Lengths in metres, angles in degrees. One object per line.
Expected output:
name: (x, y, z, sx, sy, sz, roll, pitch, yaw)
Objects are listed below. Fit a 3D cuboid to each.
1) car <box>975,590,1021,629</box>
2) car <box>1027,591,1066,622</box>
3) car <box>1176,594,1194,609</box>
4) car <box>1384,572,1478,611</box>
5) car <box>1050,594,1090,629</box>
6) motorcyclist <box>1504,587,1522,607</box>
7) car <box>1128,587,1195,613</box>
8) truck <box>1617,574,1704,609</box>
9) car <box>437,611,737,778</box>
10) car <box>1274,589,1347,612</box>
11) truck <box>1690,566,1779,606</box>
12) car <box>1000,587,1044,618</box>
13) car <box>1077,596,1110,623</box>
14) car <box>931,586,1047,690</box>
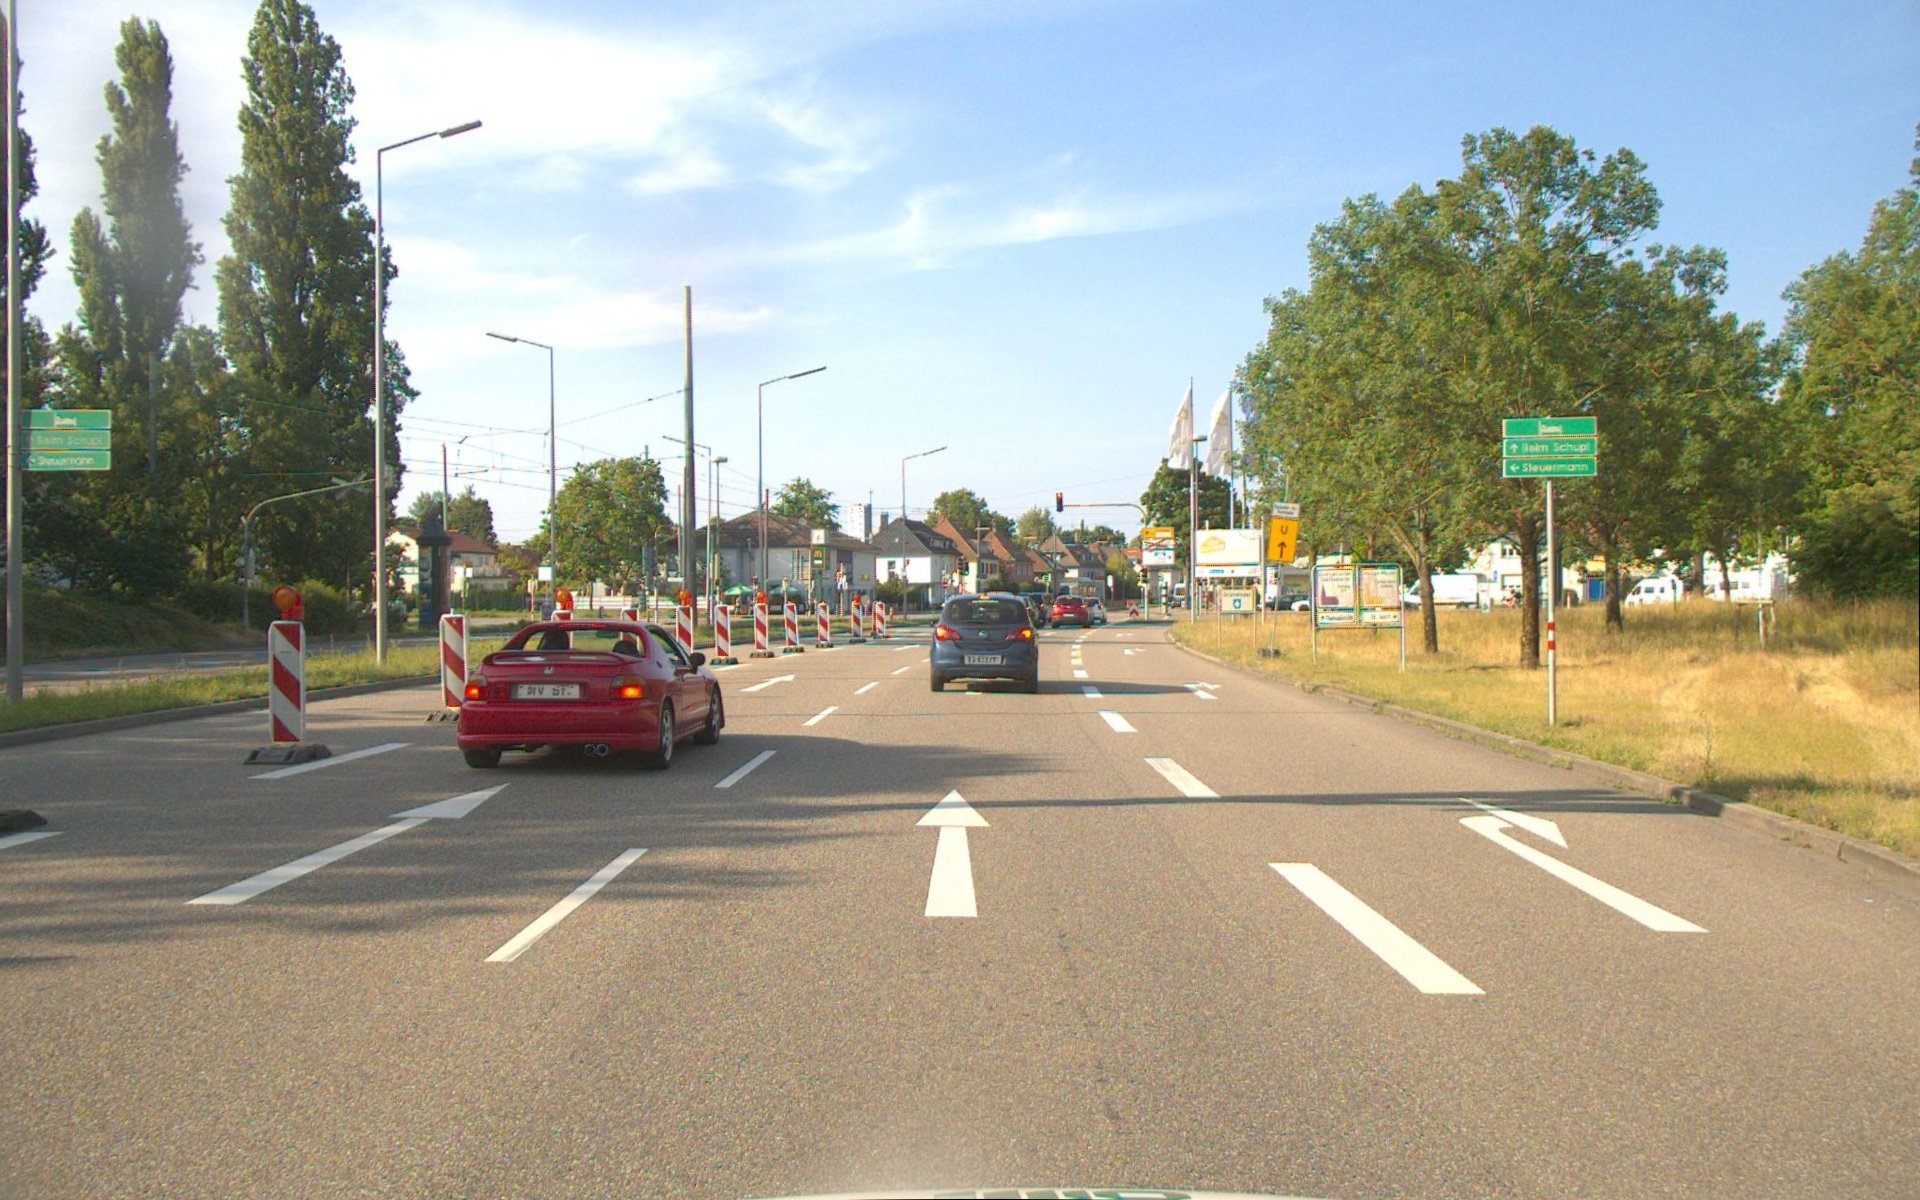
car: (1.748, 0.396, 74.914, 1.726, 1.700, 4.087, 0, 0, 7)
car: (4.890, 0.325, 92.795, 1.474, 1.680, 4.748, -1, 0, 12)
car: (22.483, 0.131, 165.017, 1.639, 1.422, 4.003, 1, -1, 10)
car: (32.543, -0.596, 114.497, 6.075, 2.629, 2.002, 0, 0, 10)
car: (5.301, 0.524, 79.056, 1.670, 1.579, 3.981, -1, 0, 7)
motorcyclist: (37.695, -0.195, 112.770, 1.043, 1.375, 0.680, 0, 0, 9)
car: (12.595, 0.000, 103.374, 3.902, 1.512, 2.002, -1, 0, 14)
truck: (53.471, -0.668, 126.353, 2.241, 2.568, 6.307, -1, 1, -25)
car: (-3.196, 0.755, 14.932, 1.695, 1.227, 3.848, 1, 0, 2)
car: (24.503, 0.035, 115.789, 4.986, 1.590, 1.841, -1, 0, 10)
truck: (59.197, -1.061, 126.513, 1.875, 2.904, 6.001, 0, 0, -36)
car: (3.210, 0.102, 84.815, 1.663, 1.534, 4.557, 0, 0, 10)
car: (7.477, 0.498, 92.576, 1.621, 1.468, 4.017, -1, 0, 7)
car: (0.464, 0.550, 26.672, 1.706, 1.532, 4.223, 0, 0, 1)
